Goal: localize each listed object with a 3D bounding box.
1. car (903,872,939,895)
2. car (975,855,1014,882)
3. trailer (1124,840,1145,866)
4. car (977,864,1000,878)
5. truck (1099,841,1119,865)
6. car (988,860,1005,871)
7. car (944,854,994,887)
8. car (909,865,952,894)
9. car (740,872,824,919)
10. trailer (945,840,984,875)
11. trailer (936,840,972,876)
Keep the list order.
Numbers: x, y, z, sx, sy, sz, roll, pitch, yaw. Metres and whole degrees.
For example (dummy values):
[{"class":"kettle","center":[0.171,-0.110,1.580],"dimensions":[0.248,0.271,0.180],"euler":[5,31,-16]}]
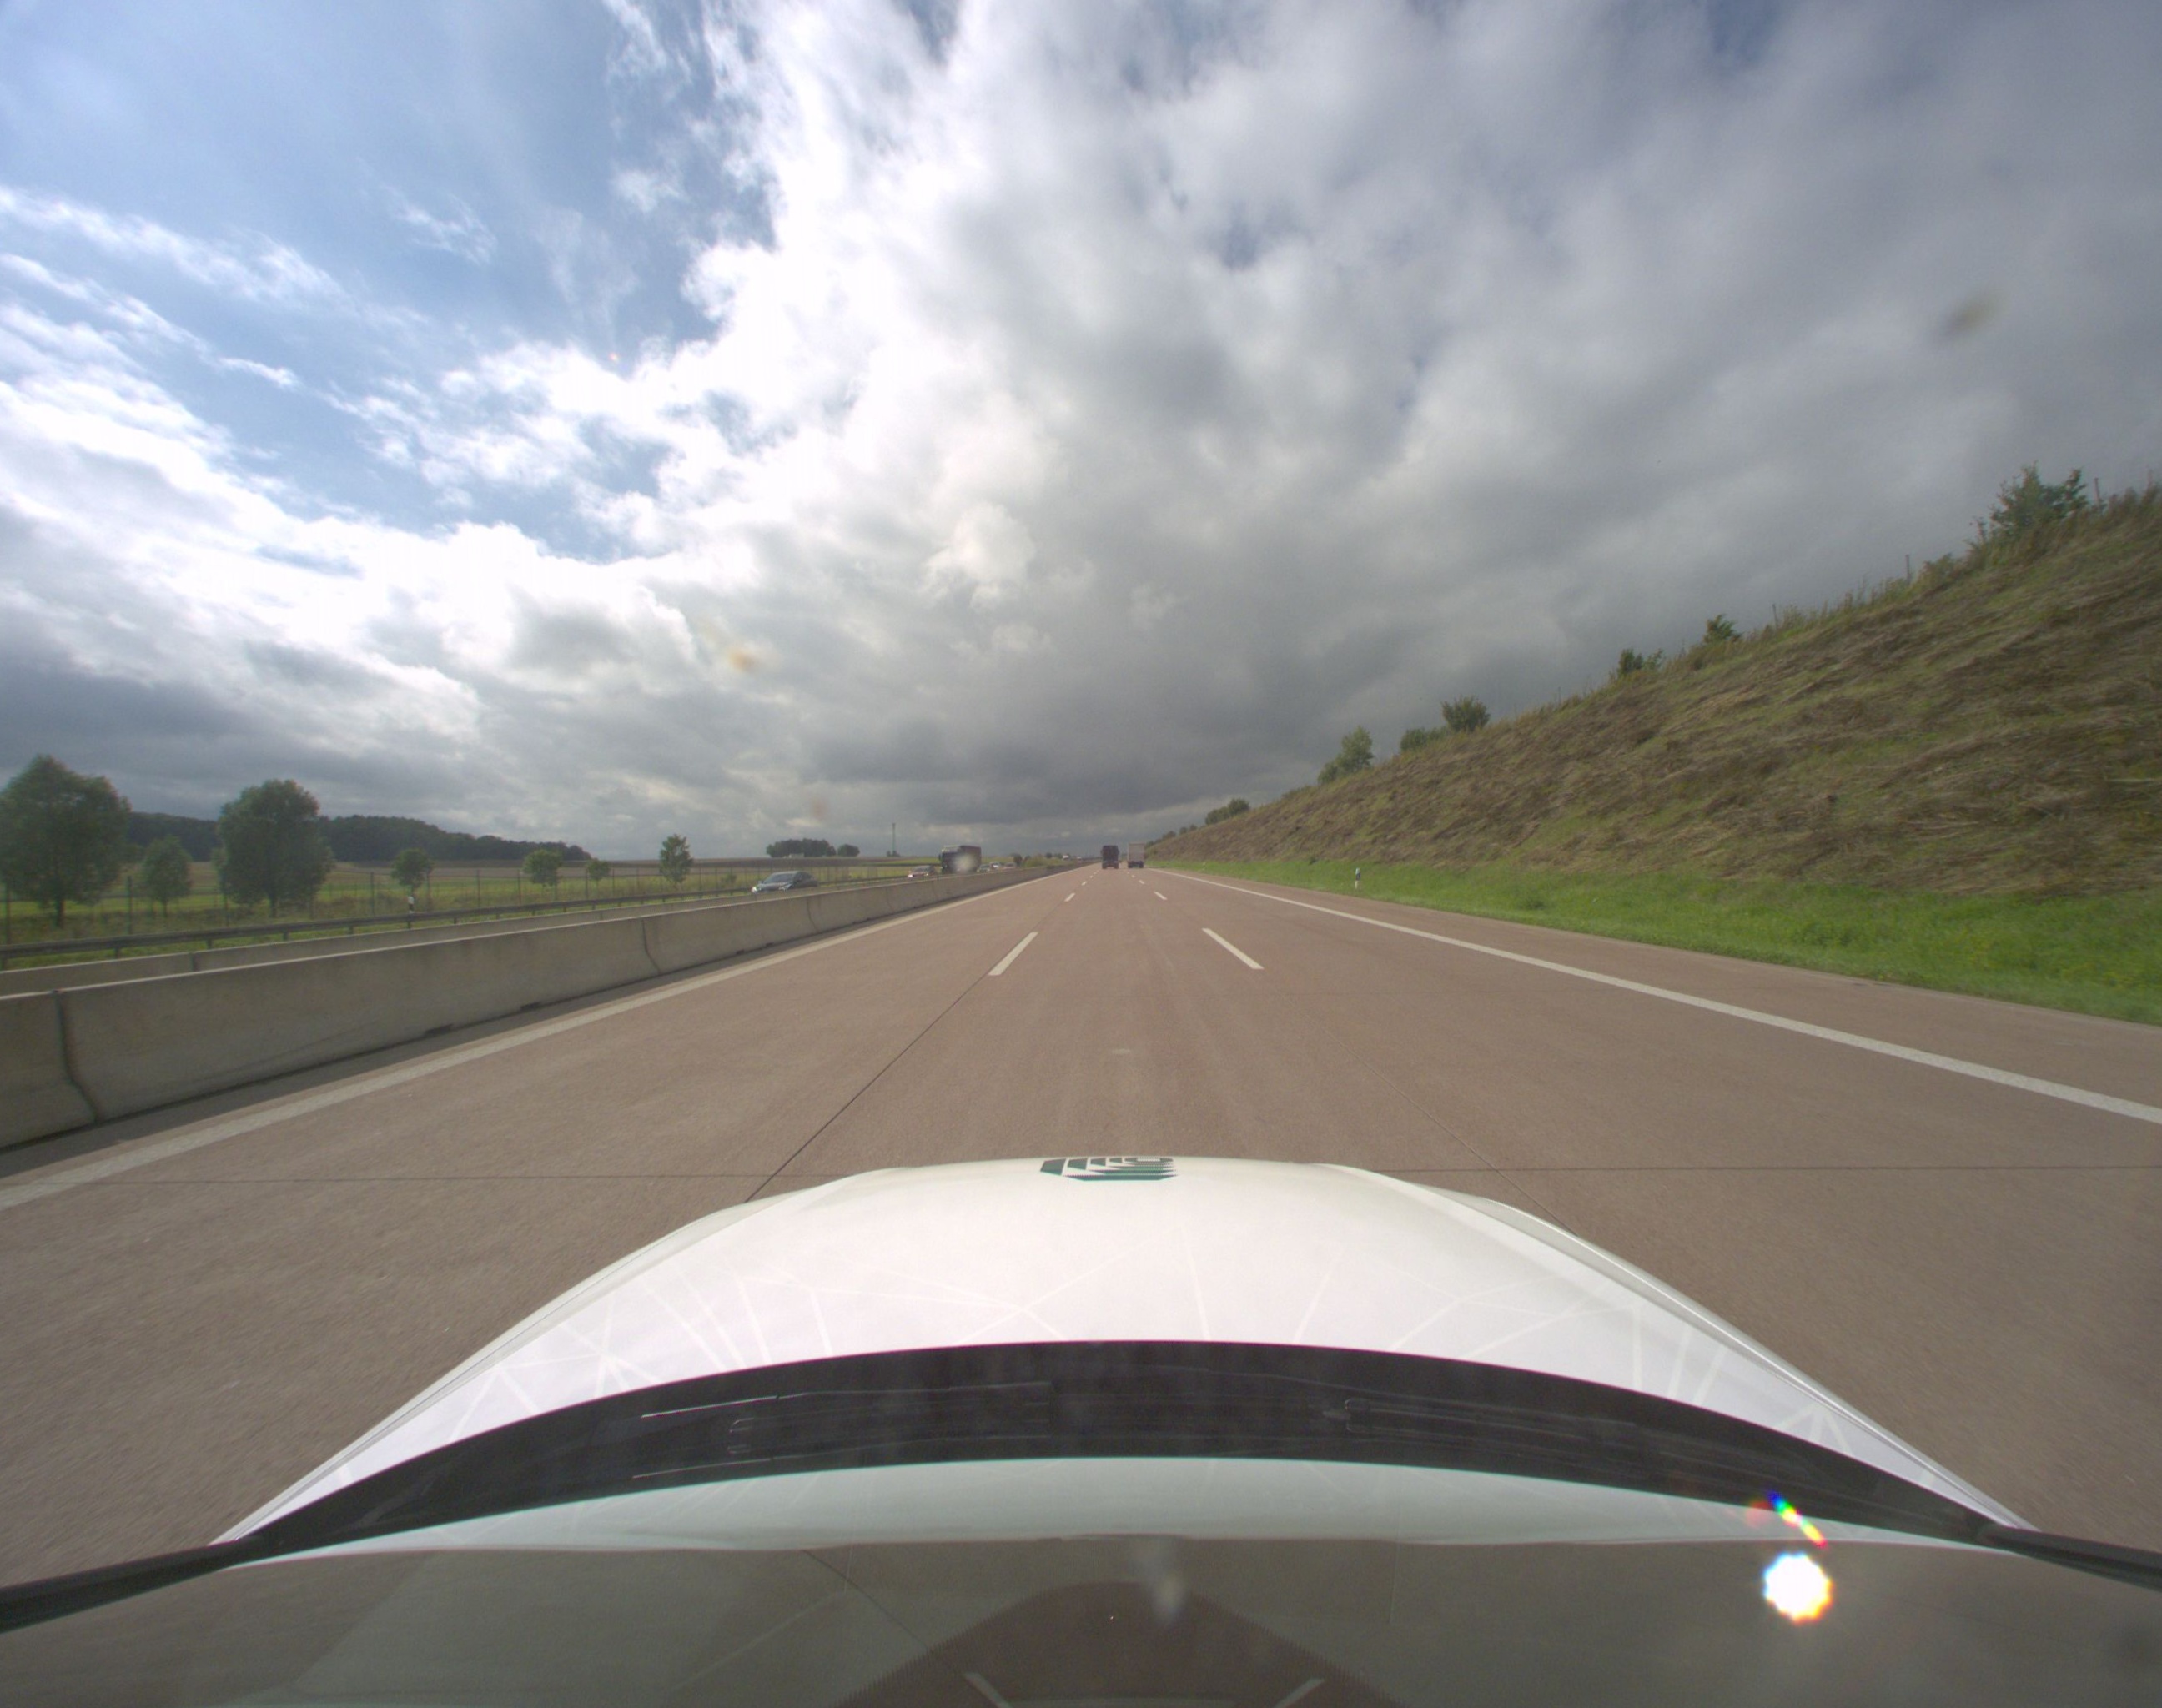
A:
[{"class":"car","center":[-12.808,2.366,65.504],"dimensions":[1.965,1.662,4.491],"euler":[0,0,1]},{"class":"car","center":[-5.525,0.898,52.542],"dimensions":[1.965,1.662,4.083],"euler":[0,0,2]},{"class":"trailer","center":[8.689,-0.070,133.304],"dimensions":[2.739,4.012,8.669],"euler":[-1,-1,0]},{"class":"car","center":[-11.226,1.996,98.855],"dimensions":[1.986,1.575,5.220],"euler":[0,0,2]},{"class":"truck","center":[4.311,-0.038,125.939],"dimensions":[2.838,3.550,8.318],"euler":[-1,-1,0]},{"class":"car","center":[-14.332,1.915,138.679],"dimensions":[2.051,1.846,5.730],"euler":[-2,0,2]},{"class":"car","center":[-5.874,0.813,43.127],"dimensions":[1.877,1.662,4.435],"euler":[0,0,2]},{"class":"car","center":[-6.422,1.051,34.914],"dimensions":[1.218,1.152,2.759],"euler":[0,0,2]},{"class":"car","center":[-13.932,1.863,38.292],"dimensions":[1.978,2.014,5.053],"euler":[0,-1,2]},{"class":"trailer","center":[-15.307,0.438,108.306],"dimensions":[3.010,4.264,12.101],"euler":[0,0,2]},{"class":"trailer","center":[-15.626,0.447,100.634],"dimensions":[2.995,4.248,7.012],"euler":[0,0,2]}]
